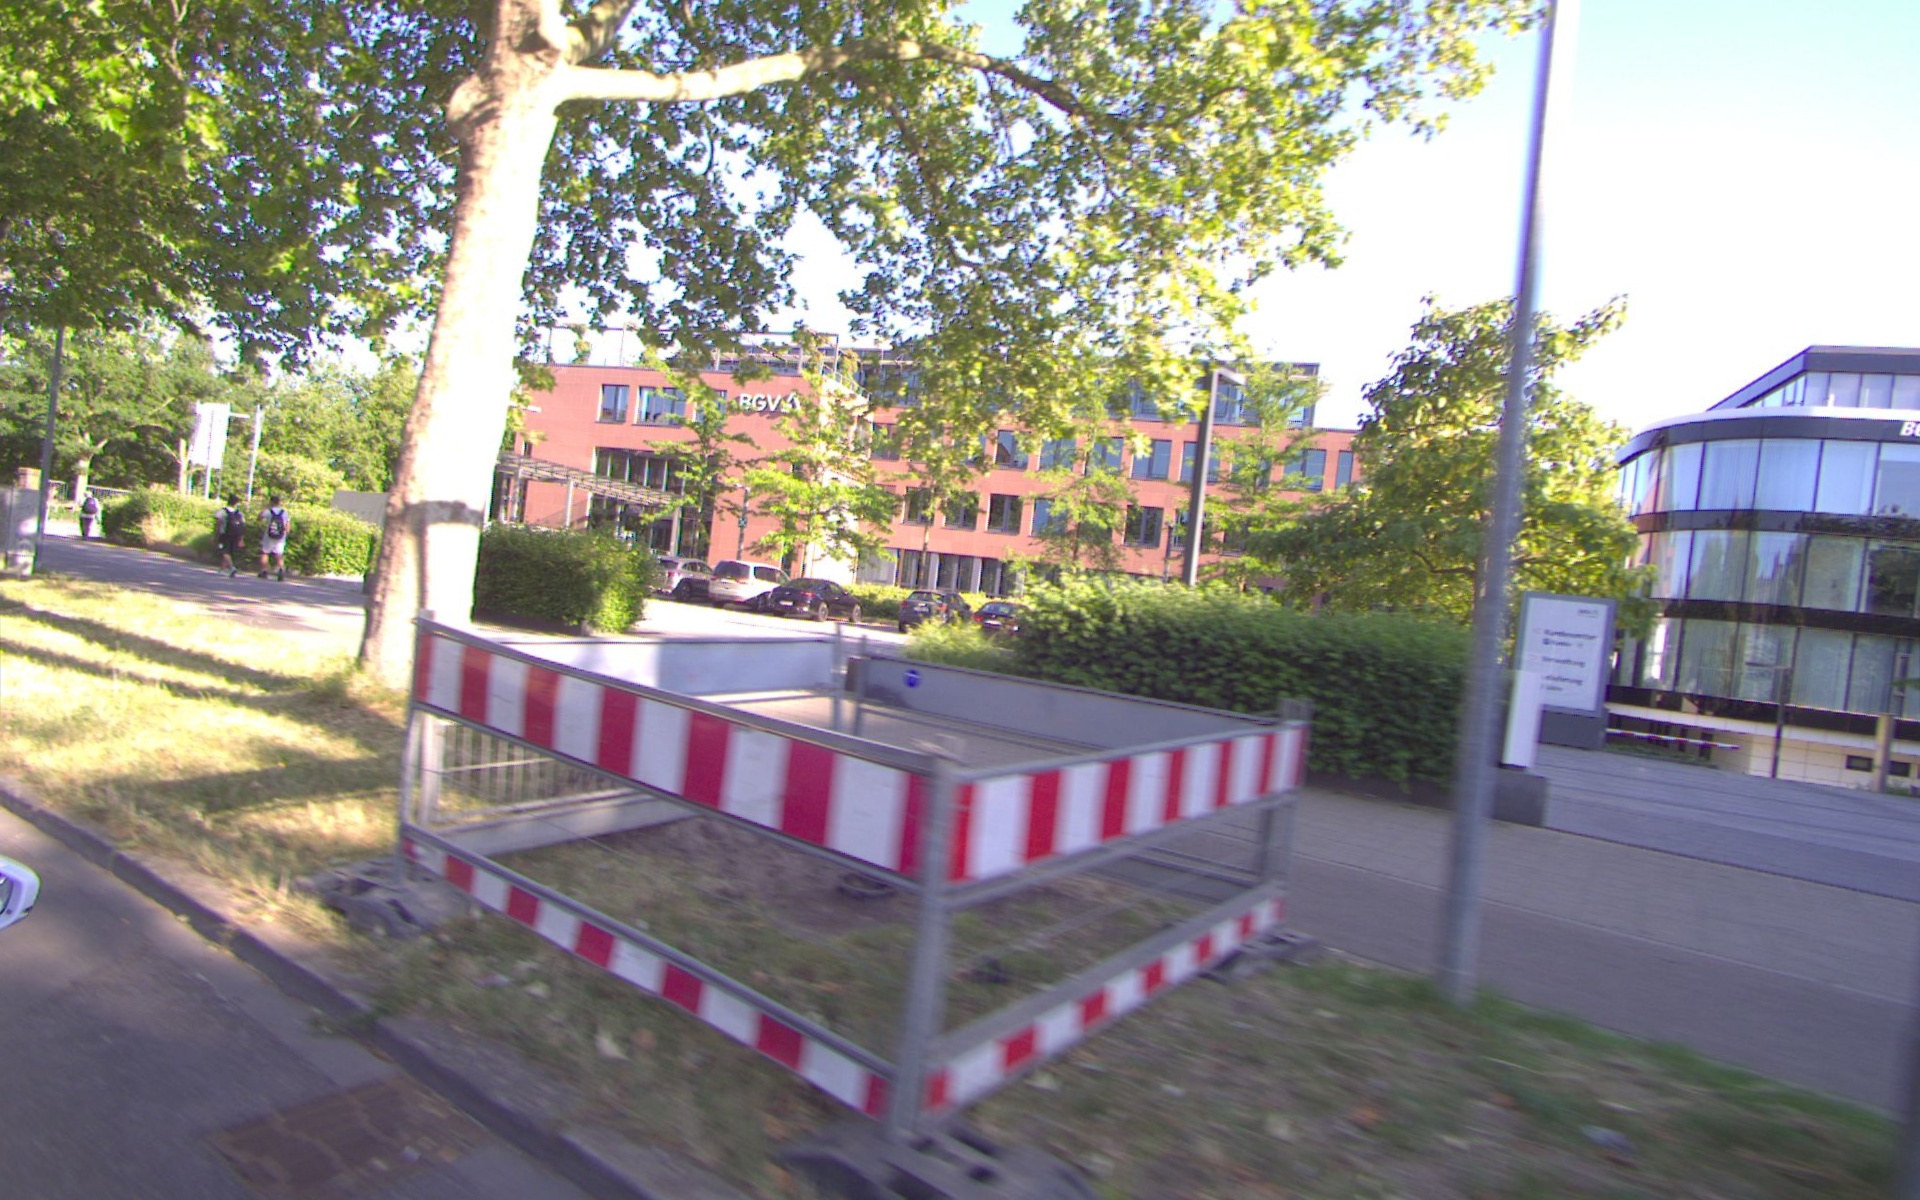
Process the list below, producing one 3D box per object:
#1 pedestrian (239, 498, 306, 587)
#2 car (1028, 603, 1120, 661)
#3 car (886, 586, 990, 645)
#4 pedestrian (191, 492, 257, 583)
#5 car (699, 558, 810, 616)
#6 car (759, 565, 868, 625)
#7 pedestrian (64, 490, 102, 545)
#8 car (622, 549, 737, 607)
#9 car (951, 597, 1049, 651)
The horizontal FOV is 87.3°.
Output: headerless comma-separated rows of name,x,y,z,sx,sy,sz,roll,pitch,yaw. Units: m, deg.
pedestrian,-15.180,-1.269,22.213,1.093,1.816,0.805,7,2,36
car,3.712,0.988,31.991,1.926,1.484,4.685,7,1,17
car,-0.658,0.547,34.349,2.033,1.618,4.685,7,1,17
pedestrian,-15.727,-1.345,21.499,1.069,1.816,0.750,7,2,36
car,-7.333,-0.422,36.423,1.813,1.735,4.685,7,1,15
car,-4.968,-0.121,34.798,1.813,1.735,4.685,7,1,15
pedestrian,-26.757,-2.519,30.690,0.771,1.559,0.649,7,2,36
car,-10.279,-0.749,37.252,1.813,1.735,4.685,7,1,15
car,1.398,0.774,32.987,1.937,1.401,4.685,7,1,17
